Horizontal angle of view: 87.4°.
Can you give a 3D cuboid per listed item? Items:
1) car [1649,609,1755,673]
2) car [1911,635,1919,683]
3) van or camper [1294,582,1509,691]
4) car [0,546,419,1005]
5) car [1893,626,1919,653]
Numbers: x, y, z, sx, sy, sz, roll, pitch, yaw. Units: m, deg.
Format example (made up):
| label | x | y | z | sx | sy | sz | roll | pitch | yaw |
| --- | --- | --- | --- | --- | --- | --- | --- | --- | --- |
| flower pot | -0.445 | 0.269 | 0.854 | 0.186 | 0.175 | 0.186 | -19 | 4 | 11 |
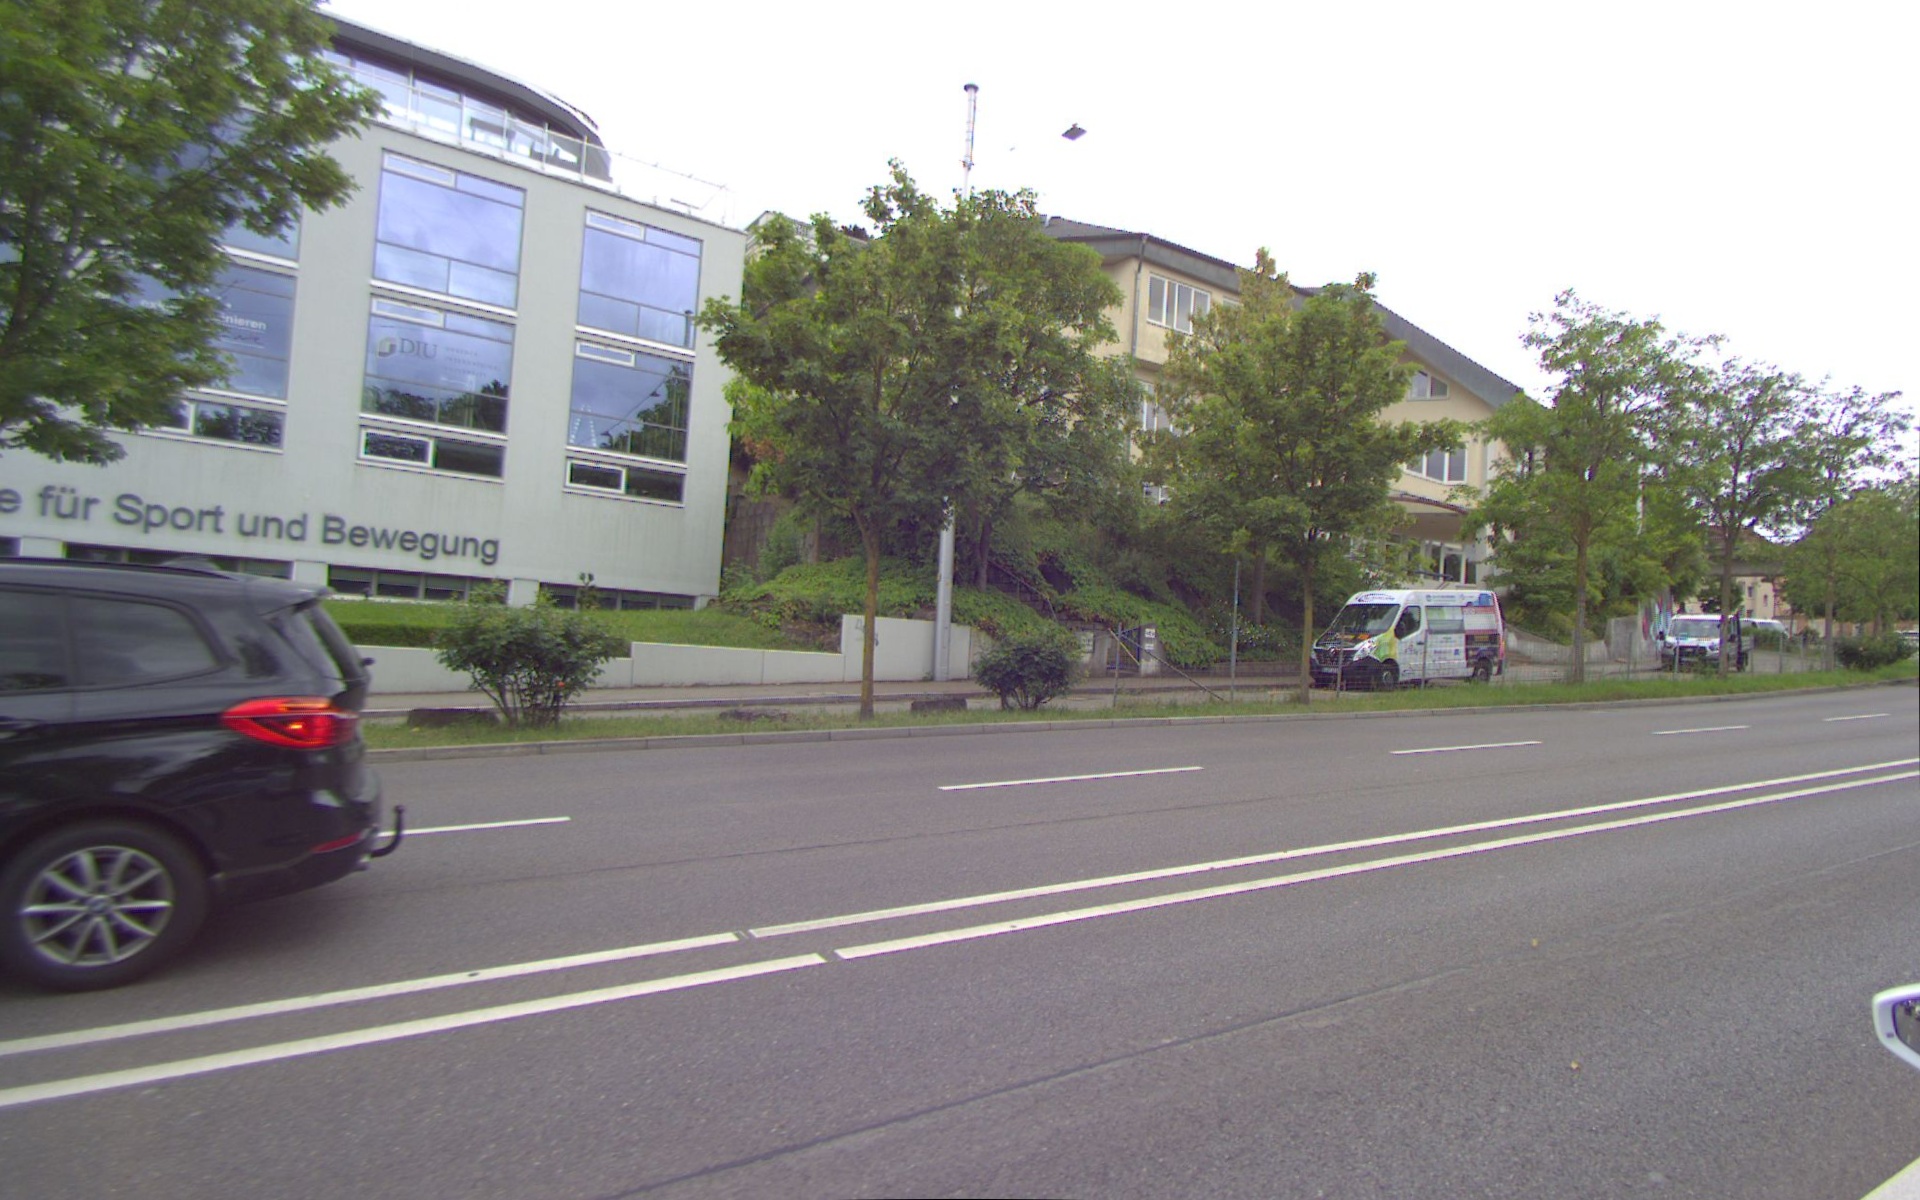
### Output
| label | x | y | z | sx | sy | sz | roll | pitch | yaw |
| --- | --- | --- | --- | --- | --- | --- | --- | --- | --- |
| car | 28.920 | 1.574 | 39.045 | 6.282 | 2.303 | 2.246 | 2 | -2 | -43 |
| car | 31.164 | 1.848 | 31.268 | 3.853 | 1.450 | 1.555 | 2 | 0 | -36 |
| van or camper | 11.170 | 0.925 | 25.293 | 5.640 | 2.505 | 1.985 | 2 | -2 | -29 |
| car | -4.554 | 0.593 | 3.844 | 4.315 | 1.613 | 1.755 | 2 | 0 | -30 |
| car | 70.707 | 2.942 | 74.529 | 1.875 | 1.963 | 3.981 | 1 | -1 | 40 |
